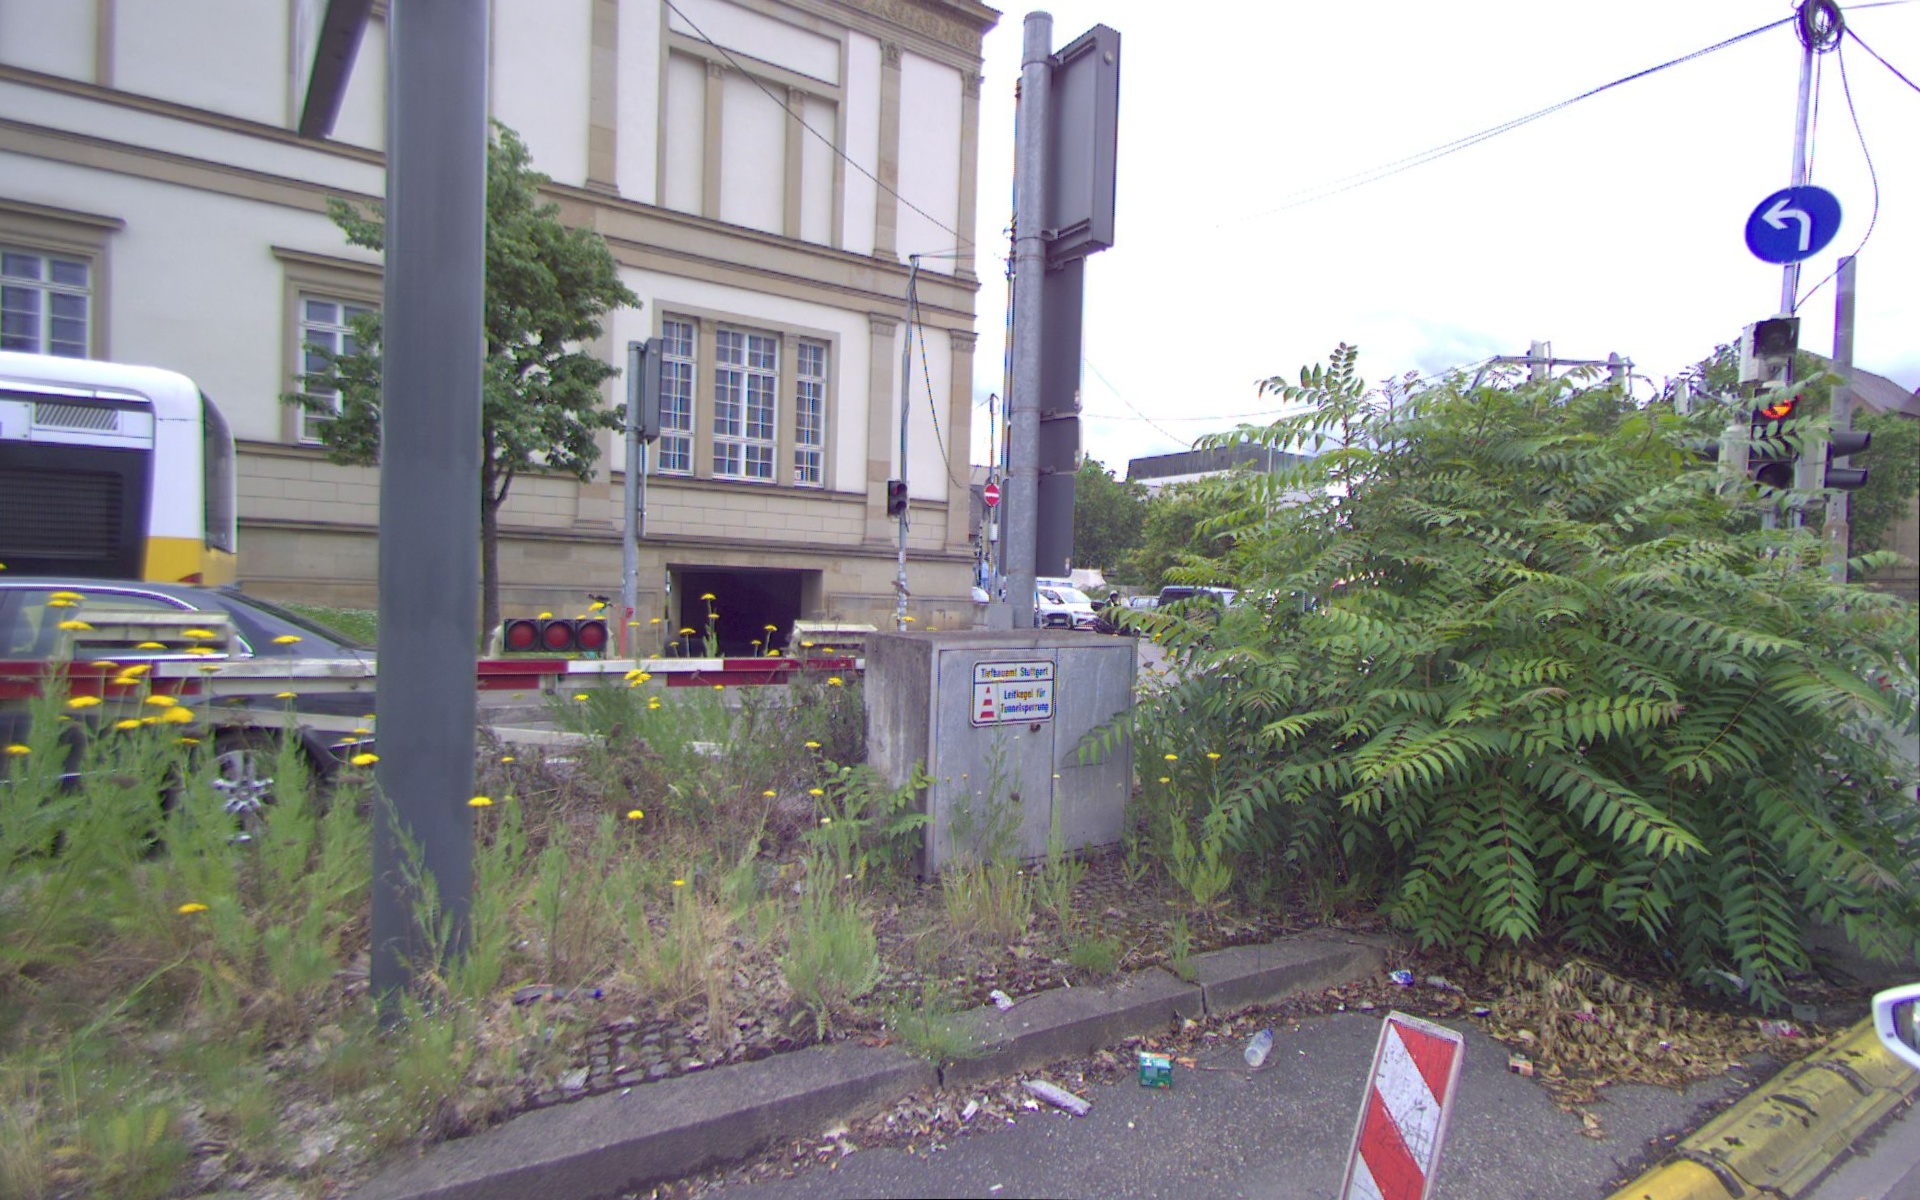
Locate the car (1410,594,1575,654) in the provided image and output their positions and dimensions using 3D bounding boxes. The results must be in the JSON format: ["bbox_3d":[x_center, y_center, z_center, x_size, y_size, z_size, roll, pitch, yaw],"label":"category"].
[{"bbox_3d":[17.127,0.720,32.447,1.986,1.698,4.271,1,1,-43],"label":"car"}]

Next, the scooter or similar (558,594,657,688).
[{"bbox_3d":[-4.941,0.575,14.126,1.132,1.190,0.540,6,0,-10],"label":"scooter or similar"}]

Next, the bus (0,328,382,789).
[{"bbox_3d":[-9.212,-0.349,6.919,9.018,3.156,2.831,1,1,-31],"label":"bus"}]

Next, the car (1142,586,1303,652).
[{"bbox_3d":[7.544,0.497,29.274,1.979,1.698,4.285,1,1,-34],"label":"car"}]

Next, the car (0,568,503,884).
[{"bbox_3d":[-5.071,0.578,5.395,4.579,1.491,1.691,2,0,-32],"label":"car"}]

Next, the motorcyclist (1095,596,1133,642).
[{"bbox_3d":[5.019,0.604,32.716,0.738,1.442,0.959,1,1,-35],"label":"motorcyclist"}]

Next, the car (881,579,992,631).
[{"bbox_3d":[-0.912,0.148,35.913,1.979,1.698,4.285,1,1,-34],"label":"car"}]

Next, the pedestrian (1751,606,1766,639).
[{"bbox_3d":[49.762,1.372,62.606,0.516,2.040,0.428,2,1,17],"label":"pedestrian"}]

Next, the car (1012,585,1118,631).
[{"bbox_3d":[4.202,0.291,40.895,1.979,1.698,4.285,1,1,-34],"label":"car"}]

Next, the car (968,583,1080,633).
[{"bbox_3d":[2.319,0.270,37.589,1.979,1.698,4.285,1,1,-34],"label":"car"}]

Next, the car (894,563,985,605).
[{"bbox_3d":[-0.945,-0.701,43.677,1.979,1.698,4.285,1,1,-34],"label":"car"}]

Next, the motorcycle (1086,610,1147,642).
[{"bbox_3d":[5.069,0.828,32.647,0.749,0.937,2.042,1,1,-35],"label":"motorcycle"}]
